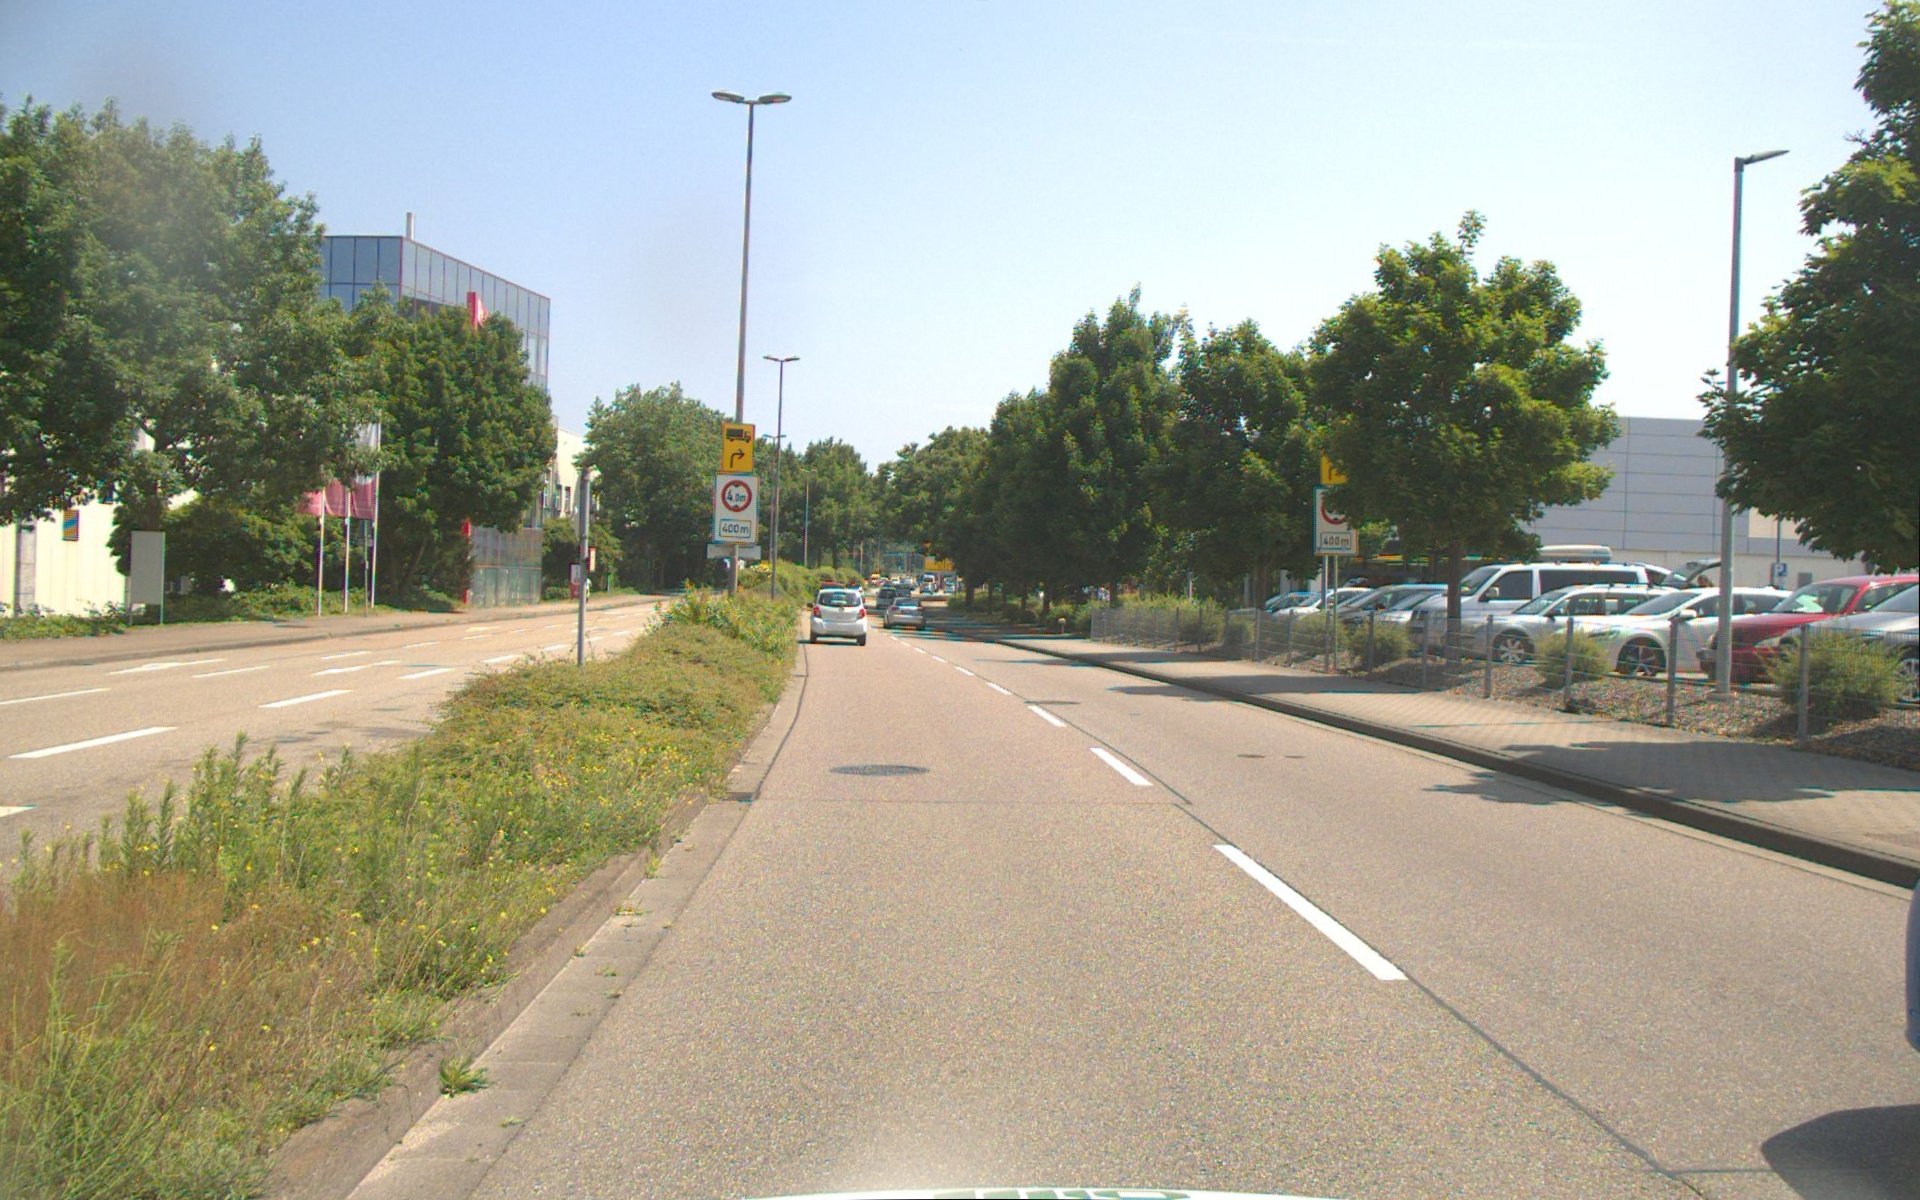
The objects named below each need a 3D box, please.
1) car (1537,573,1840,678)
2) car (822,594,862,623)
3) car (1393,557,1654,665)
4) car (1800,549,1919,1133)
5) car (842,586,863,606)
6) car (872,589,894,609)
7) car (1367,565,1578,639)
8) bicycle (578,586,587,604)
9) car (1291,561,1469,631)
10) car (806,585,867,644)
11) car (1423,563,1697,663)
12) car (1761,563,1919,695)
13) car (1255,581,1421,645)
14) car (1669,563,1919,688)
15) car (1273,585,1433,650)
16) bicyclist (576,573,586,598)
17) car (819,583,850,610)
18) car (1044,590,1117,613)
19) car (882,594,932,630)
[{"bbox_3d":[11.151,0.376,25.447,3.918,1.446,1.696,2,0,-5],"label":"car"},{"bbox_3d":[-6.181,0.443,86.286,1.848,1.377,3.995,3,0,-6],"label":"car"},{"bbox_3d":[11.124,0.207,32.813,4.525,1.958,1.825,2,0,-4],"label":"car"},{"bbox_3d":[3.628,0.688,3.068,1.772,1.620,4.347,1,0,-3],"label":"car"},{"bbox_3d":[-8.279,-0.304,126.884,1.458,1.416,3.304,3,0,-5],"label":"car"},{"bbox_3d":[-5.439,-0.078,116.260,1.413,1.372,3.456,1,0,-5],"label":"car"},{"bbox_3d":[10.933,0.042,35.461,3.908,1.414,1.825,2,0,-4],"label":"car"},{"bbox_3d":[-22.443,-0.296,98.328,0.339,1.086,0.922,0,0,-5],"label":"bicycle"},{"bbox_3d":[10.368,-0.078,40.997,3.908,1.561,1.825,2,-1,-4],"label":"car"},{"bbox_3d":[-3.543,0.395,47.710,1.606,1.579,3.322,3,0,-4],"label":"car"},{"bbox_3d":[10.789,0.227,29.931,4.279,1.620,1.826,2,0,-2],"label":"car"},{"bbox_3d":[11.817,0.366,19.319,4.086,1.446,1.697,2,0,-2],"label":"car"},{"bbox_3d":[10.008,0.355,43.909,3.914,1.561,1.823,2,-1,-10],"label":"car"},{"bbox_3d":[11.745,0.343,22.444,3.522,1.563,1.720,2,0,-9],"label":"car"},{"bbox_3d":[10.963,0.478,46.276,3.912,1.624,1.824,2,0,-8],"label":"car"},{"bbox_3d":[-22.533,-0.860,98.314,0.534,1.536,0.343,0,0,-6],"label":"bicyclist"},{"bbox_3d":[-7.788,-0.244,102.313,1.848,1.636,3.996,0,0,-5],"label":"car"},{"bbox_3d":[7.572,0.082,104.385,1.935,1.375,4.647,0,0,-40],"label":"car"},{"bbox_3d":[-2.416,0.517,74.374,1.830,1.498,3.994,3,0,-7],"label":"car"}]
